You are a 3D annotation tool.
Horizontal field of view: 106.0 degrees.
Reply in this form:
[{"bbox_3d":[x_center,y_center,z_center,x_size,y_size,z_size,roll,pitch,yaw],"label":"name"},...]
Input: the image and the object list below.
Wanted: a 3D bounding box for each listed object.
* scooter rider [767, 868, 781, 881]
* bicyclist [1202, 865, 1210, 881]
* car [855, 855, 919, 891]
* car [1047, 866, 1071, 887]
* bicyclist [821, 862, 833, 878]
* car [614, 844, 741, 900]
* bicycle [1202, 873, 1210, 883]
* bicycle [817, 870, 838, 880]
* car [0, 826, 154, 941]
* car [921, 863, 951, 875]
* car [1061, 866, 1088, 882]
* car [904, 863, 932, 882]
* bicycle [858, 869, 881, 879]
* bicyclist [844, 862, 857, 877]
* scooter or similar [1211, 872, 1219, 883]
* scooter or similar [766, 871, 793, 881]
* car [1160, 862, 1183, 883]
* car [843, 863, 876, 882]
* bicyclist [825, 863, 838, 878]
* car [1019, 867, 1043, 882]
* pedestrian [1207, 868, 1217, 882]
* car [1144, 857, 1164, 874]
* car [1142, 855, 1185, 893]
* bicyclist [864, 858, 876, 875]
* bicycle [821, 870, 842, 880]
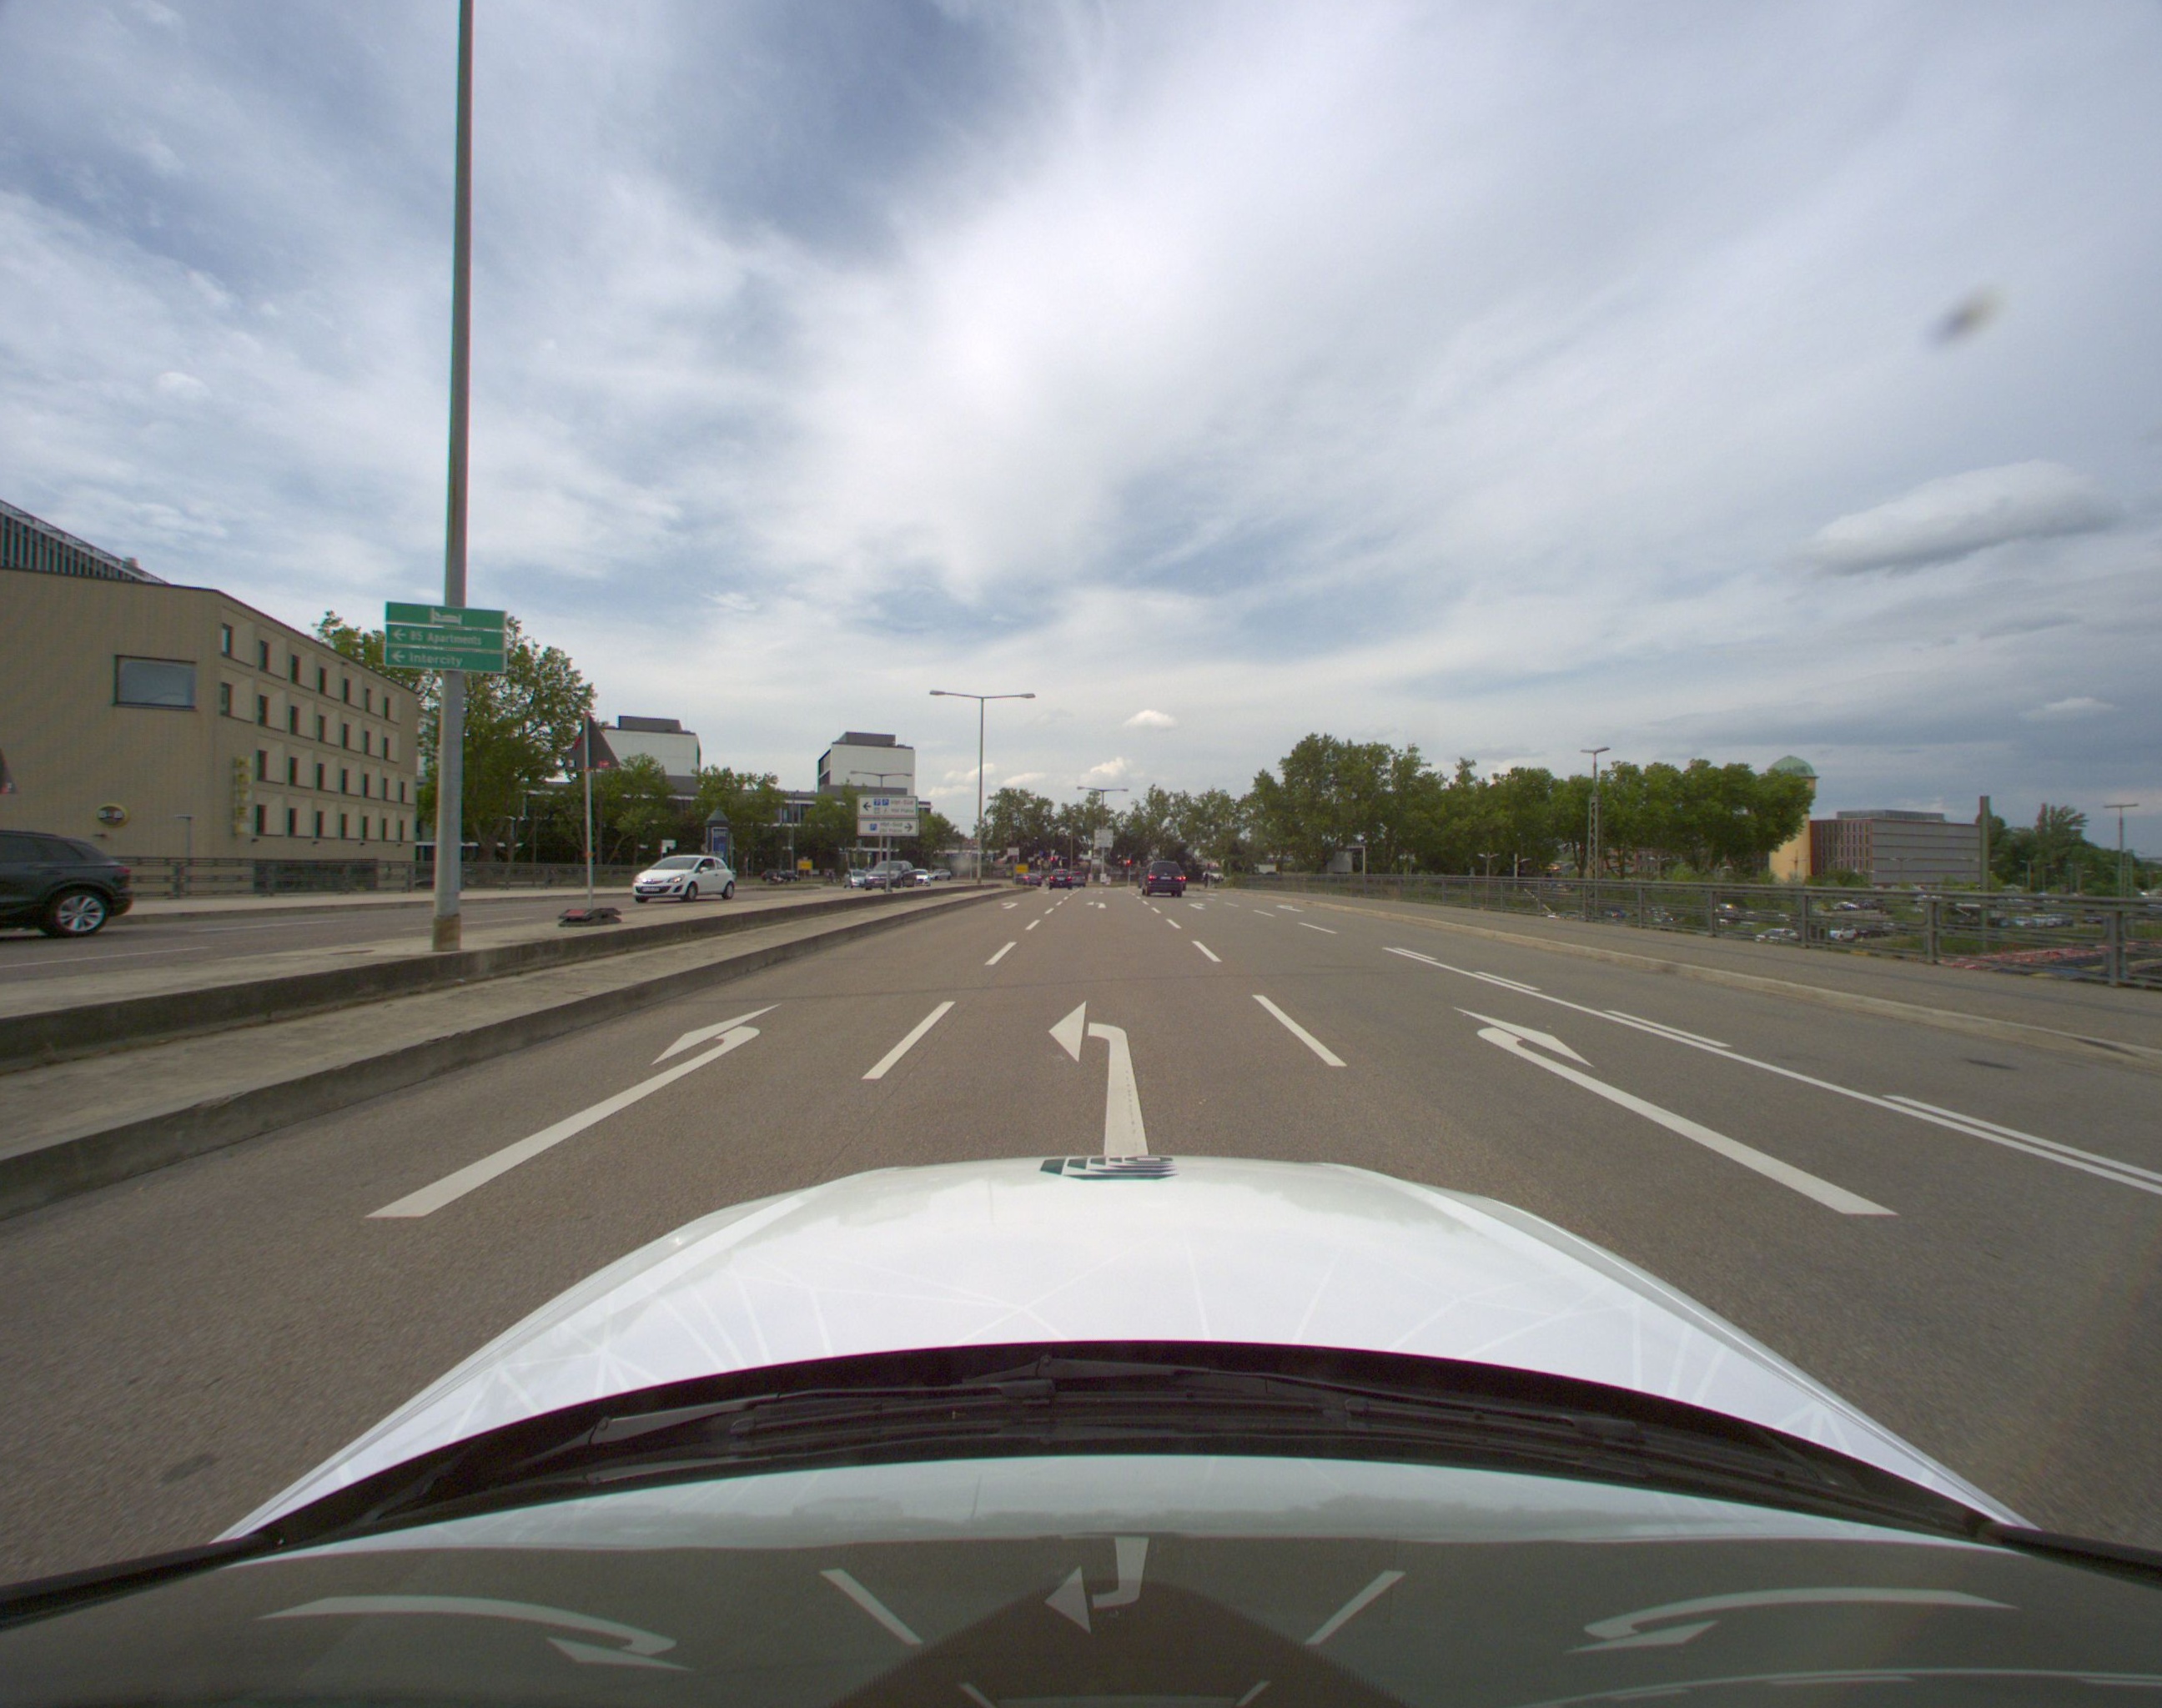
[{"bbox_3d":[-28.757,1.916,76.324,0.798,1.137,0.922,0,-1,33],"label":"scooter rider"},{"bbox_3d":[12.907,1.944,84.330,0.806,1.696,1.118,0,-1,9],"label":"bicyclist"},{"bbox_3d":[-9.296,0.893,39.360,1.880,1.640,4.586,0,-1,1],"label":"car"},{"bbox_3d":[-1.725,1.737,64.023,1.752,1.575,4.033,1,0,-2],"label":"car"},{"bbox_3d":[-25.176,1.583,80.726,0.846,1.529,0.621,1,-1,-44],"label":"bicyclist"},{"bbox_3d":[-12.706,0.551,25.972,1.881,1.640,4.217,0,-1,0],"label":"car"},{"bbox_3d":[12.901,2.457,84.316,0.804,0.952,2.241,0,-1,9],"label":"bicycle"},{"bbox_3d":[-25.148,2.068,80.751,1.918,1.013,0.621,1,-1,-44],"label":"bicycle"},{"bbox_3d":[-16.434,0.408,11.248,1.879,1.640,4.549,0,-1,3],"label":"car"},{"bbox_3d":[-18.083,1.901,101.849,1.600,1.410,3.884,-2,-2,30],"label":"car"},{"bbox_3d":[-0.650,1.953,79.998,1.743,1.546,4.062,0,-1,-13],"label":"car"},{"bbox_3d":[-13.355,1.490,66.655,1.922,1.415,4.855,-1,-1,-15],"label":"car"},{"bbox_3d":[-21.230,1.990,81.845,0.801,0.952,2.249,-1,-1,34],"label":"bicycle"},{"bbox_3d":[-23.349,1.563,82.612,0.639,1.436,1.124,0,-1,38],"label":"bicyclist"},{"bbox_3d":[13.622,2.386,82.764,0.396,1.183,1.277,0,-2,-6],"label":"scooter or similar"},{"bbox_3d":[-28.431,2.072,76.809,0.798,0.849,2.401,0,-1,33],"label":"scooter or similar"},{"bbox_3d":[7.517,1.567,67.694,1.742,1.643,4.143,2,-2,6],"label":"car"},{"bbox_3d":[-18.423,1.515,67.525,1.928,1.526,4.842,-1,-1,-24],"label":"car"},{"bbox_3d":[-24.562,1.614,80.147,1.025,1.539,0.621,1,-1,-43],"label":"bicyclist"},{"bbox_3d":[-5.066,2.039,82.400,1.819,1.414,4.757,1,-1,-11],"label":"car"},{"bbox_3d":[15.312,2.456,95.162,1.040,1.710,0.856,1,-1,12],"label":"pedestrian"},{"bbox_3d":[7.323,1.136,81.966,1.684,1.585,4.156,2,-2,1],"label":"car"},{"bbox_3d":[4.041,0.986,40.473,1.744,1.725,4.137,2,-2,1],"label":"car"},{"bbox_3d":[-21.237,1.268,81.866,0.801,1.656,0.889,-1,-2,33],"label":"bicyclist"},{"bbox_3d":[-24.551,2.067,80.160,1.918,1.013,0.621,1,-1,-43],"label":"bicycle"}]
